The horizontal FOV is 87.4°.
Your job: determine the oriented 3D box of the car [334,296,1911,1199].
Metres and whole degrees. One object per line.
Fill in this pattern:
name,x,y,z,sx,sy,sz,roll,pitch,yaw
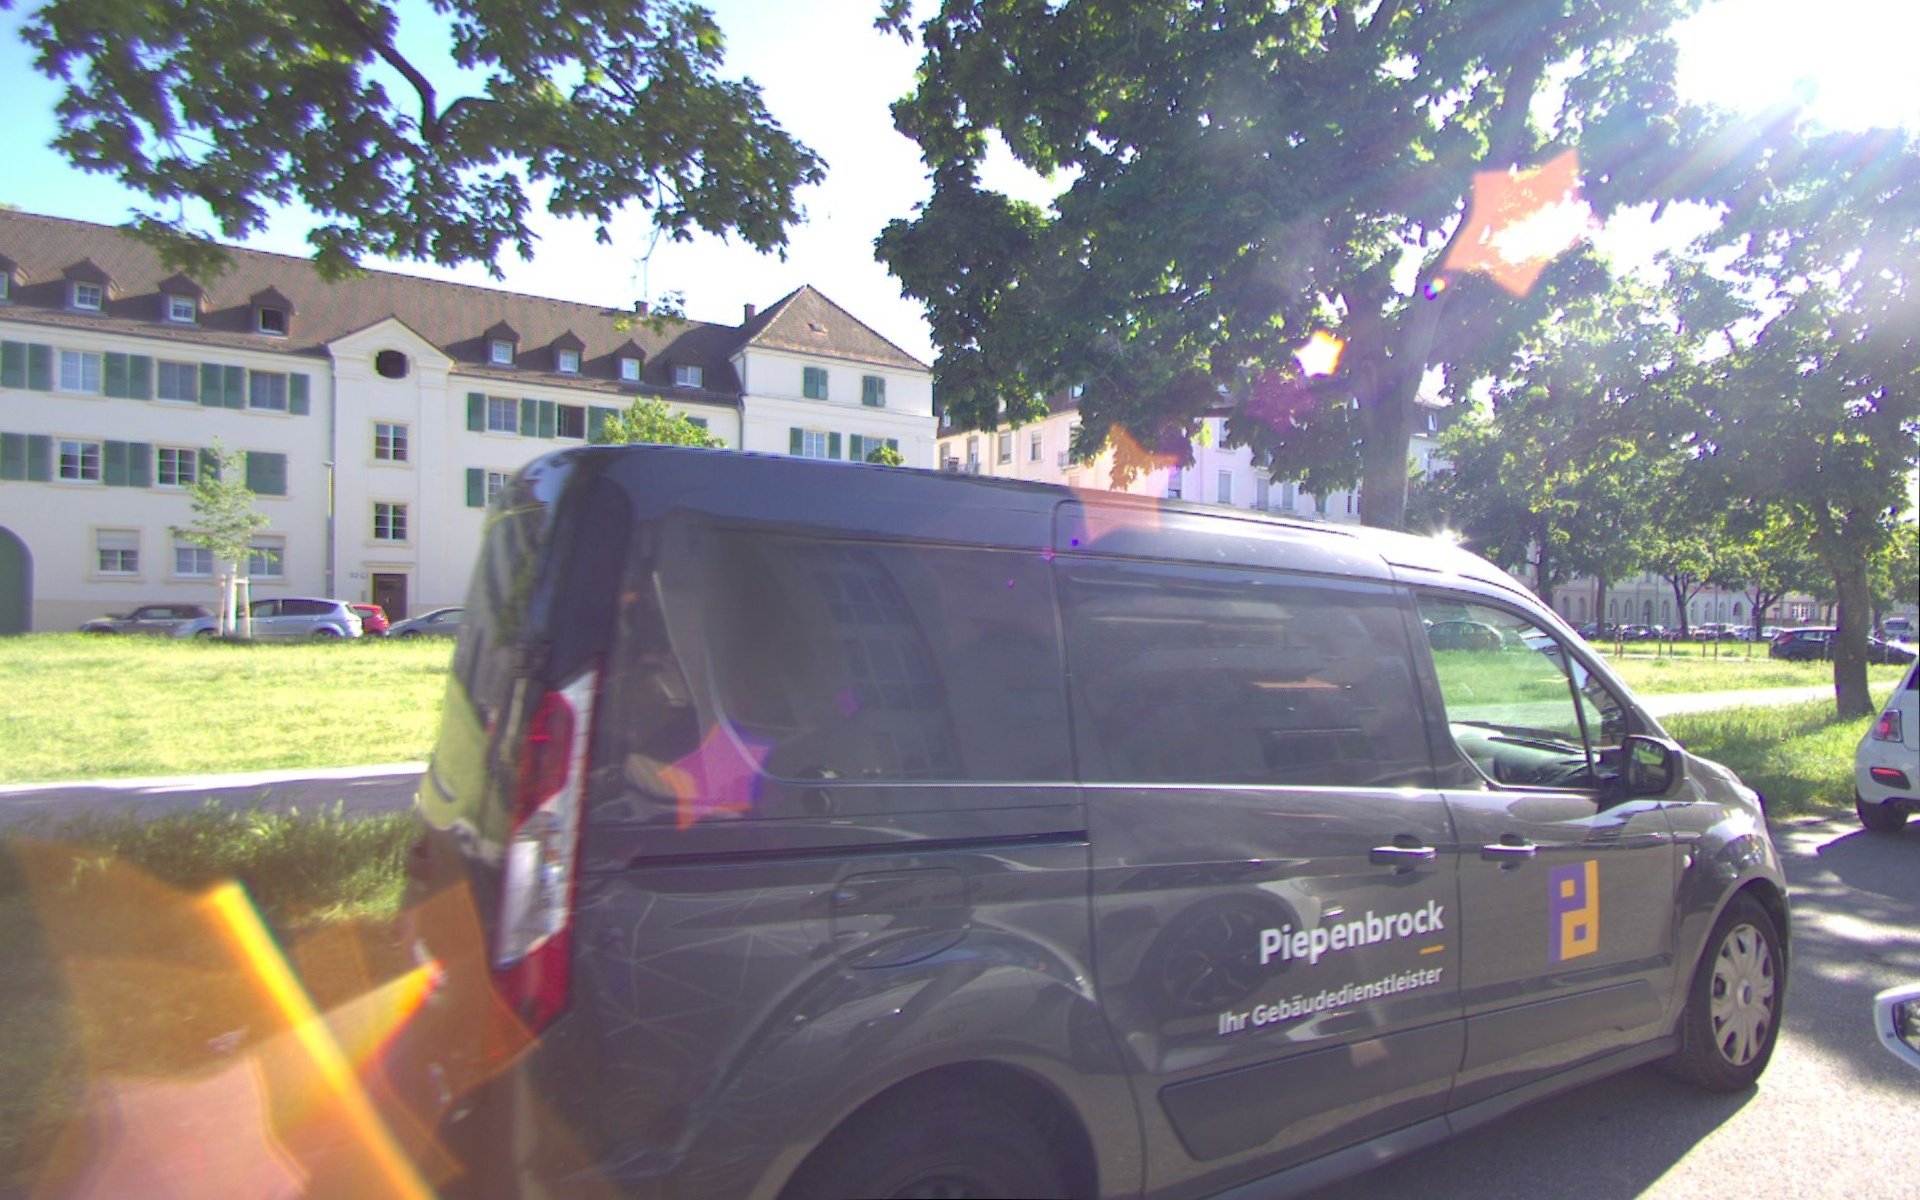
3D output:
car,0.924,0.619,3.259,4.933,1.808,1.855,2,-1,-31

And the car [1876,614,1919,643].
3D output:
car,93.065,2.852,99.628,5.565,2.780,1.904,1,0,-33

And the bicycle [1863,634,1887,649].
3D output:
bicycle,78.839,3.576,86.576,2.606,1.269,0.805,3,1,-32

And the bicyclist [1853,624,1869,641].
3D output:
bicyclist,76.248,2.755,85.022,0.931,1.457,0.734,1,0,-30

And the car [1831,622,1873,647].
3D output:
car,82.641,3.169,93.048,4.955,2.243,1.684,2,0,-33

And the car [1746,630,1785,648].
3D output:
car,67.113,3.257,83.694,3.301,1.459,1.374,1,0,-30

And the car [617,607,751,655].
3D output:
car,-11.705,1.313,42.689,5.099,1.911,2.143,1,0,-31

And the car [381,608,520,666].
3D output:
car,-16.793,1.205,33.175,3.960,1.773,2.307,1,0,-29

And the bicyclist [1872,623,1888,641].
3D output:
bicyclist,77.099,2.709,84.135,0.932,1.457,0.734,1,0,-31

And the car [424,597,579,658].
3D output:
car,-17.859,1.050,39.172,5.200,2.245,2.516,1,0,-32

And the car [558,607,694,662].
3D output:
car,-11.986,1.203,36.084,4.211,1.844,2.223,1,0,-33

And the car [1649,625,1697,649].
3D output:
car,53.581,2.781,75.476,4.037,1.709,1.622,1,0,-33

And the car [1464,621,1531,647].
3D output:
car,34.039,2.163,63.589,4.647,1.582,1.684,1,0,-33

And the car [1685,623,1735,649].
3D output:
car,58.679,2.835,78.597,4.413,1.933,1.726,1,0,-33

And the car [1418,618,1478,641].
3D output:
car,29.567,1.784,60.854,3.488,1.296,1.684,1,0,-33

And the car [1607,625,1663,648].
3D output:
car,48.865,2.664,72.670,4.479,1.570,1.746,1,0,-33

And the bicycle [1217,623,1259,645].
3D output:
bicycle,14.205,1.730,51.380,1.947,1.030,0.657,1,0,32

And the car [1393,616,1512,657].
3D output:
car,20.883,1.516,42.633,4.277,1.597,1.922,0,-1,36

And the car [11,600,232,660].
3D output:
car,-27.475,0.966,33.228,5.194,1.844,2.439,1,0,-29

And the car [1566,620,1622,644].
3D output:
car,43.765,2.231,69.298,4.308,1.570,1.622,1,0,-33

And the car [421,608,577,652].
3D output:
car,-16.603,1.087,36.249,4.902,1.504,1.983,1,-1,-31

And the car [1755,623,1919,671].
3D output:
car,30.604,1.603,35.104,4.277,1.428,1.913,1,2,36

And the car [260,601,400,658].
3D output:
car,-22.563,1.029,36.149,4.121,1.930,2.251,1,0,-32

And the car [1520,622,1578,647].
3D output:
car,39.147,2.283,66.730,4.037,1.547,1.684,1,0,-33

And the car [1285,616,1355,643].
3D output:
car,22.680,1.826,63.268,4.407,1.608,1.981,1,0,-35

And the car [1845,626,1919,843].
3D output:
car,8.436,0.962,7.645,3.644,1.512,1.578,1,-2,-32

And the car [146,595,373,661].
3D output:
car,-21.074,0.836,30.598,5.387,1.844,2.439,1,0,-29

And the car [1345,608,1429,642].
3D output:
car,24.845,1.465,58.419,5.044,1.897,2.069,1,0,-33

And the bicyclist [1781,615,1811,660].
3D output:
bicyclist,32.086,1.427,38.536,0.866,1.713,0.629,0,-1,41

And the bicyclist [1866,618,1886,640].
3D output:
bicyclist,78.924,2.530,86.569,1.433,1.861,0.936,2,-2,-32

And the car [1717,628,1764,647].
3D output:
car,63.152,3.022,81.295,3.729,1.448,1.686,1,0,-30
